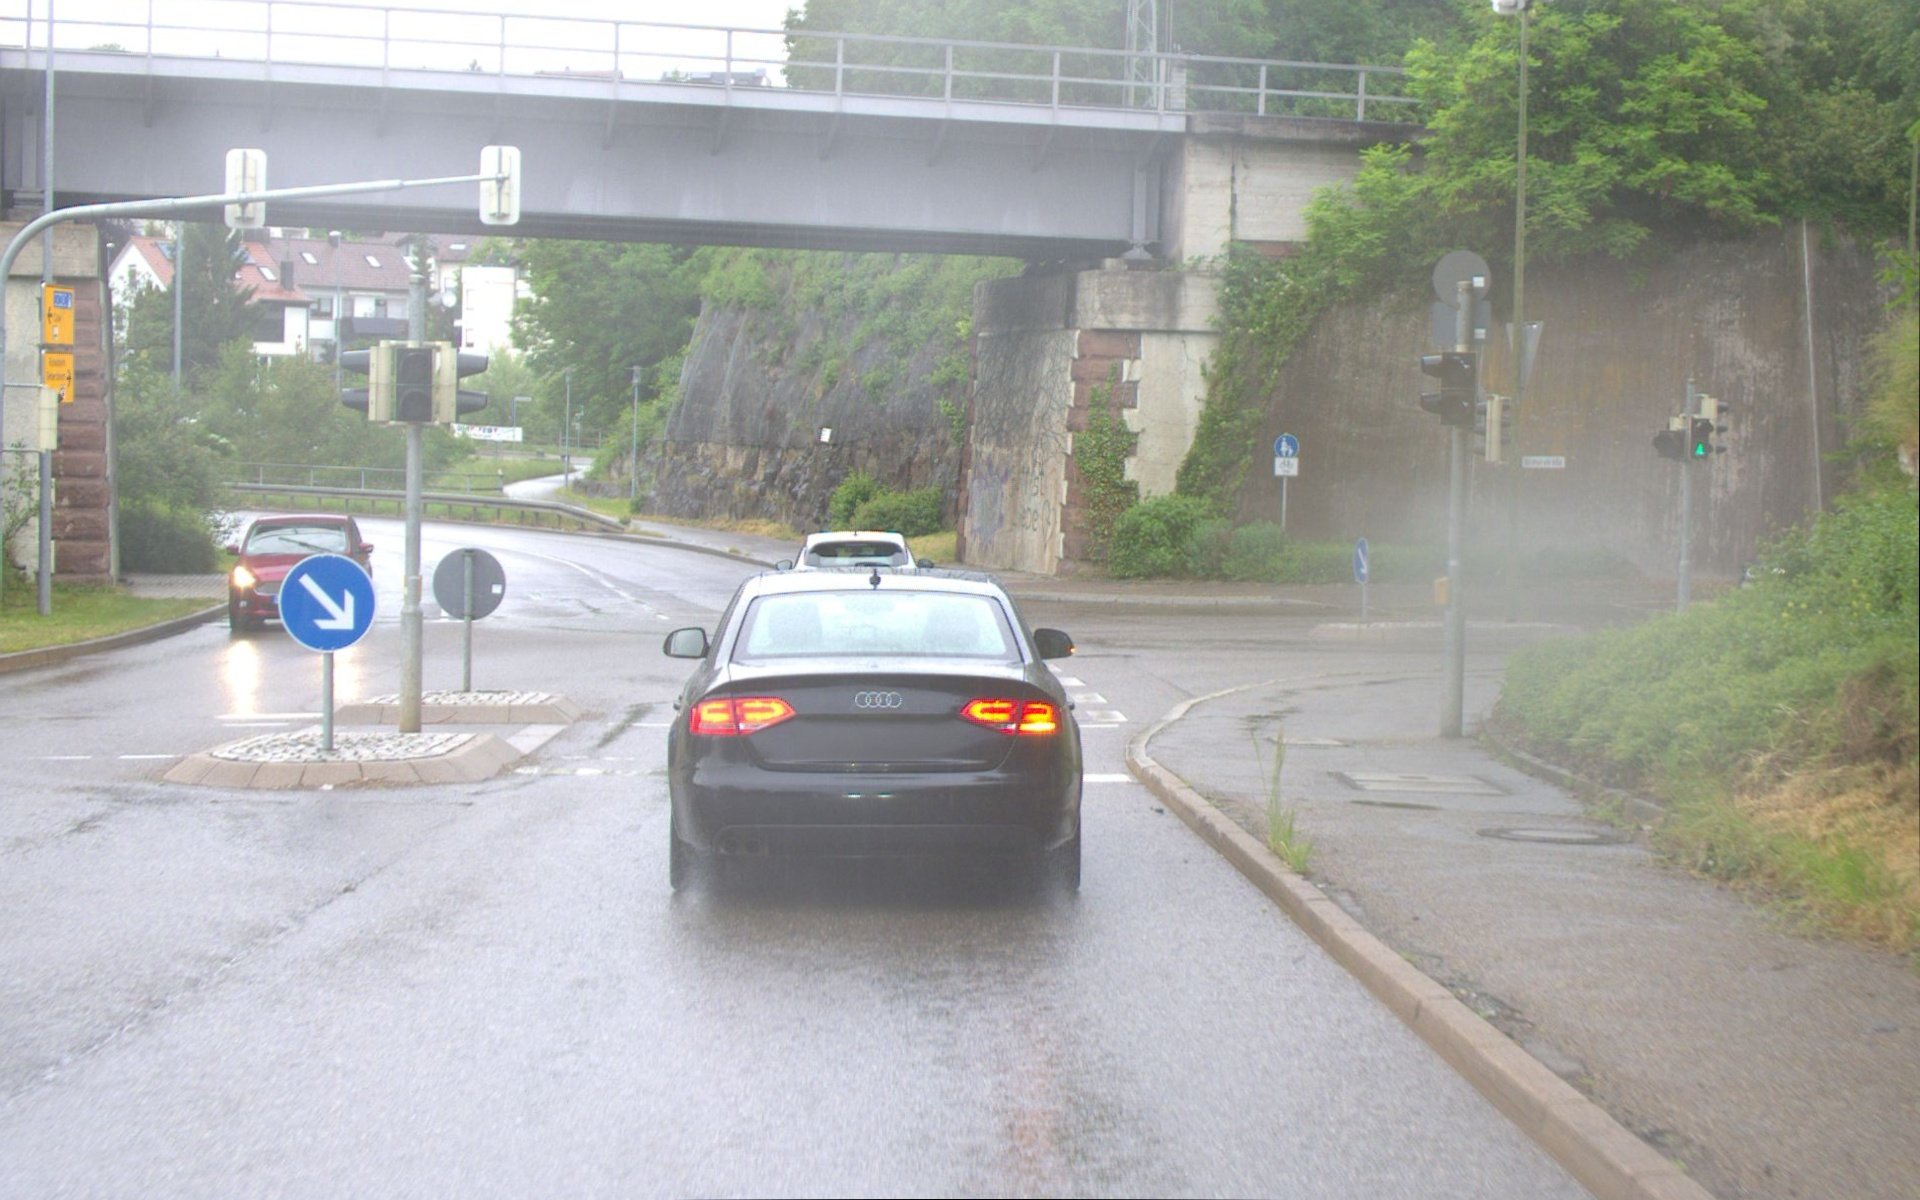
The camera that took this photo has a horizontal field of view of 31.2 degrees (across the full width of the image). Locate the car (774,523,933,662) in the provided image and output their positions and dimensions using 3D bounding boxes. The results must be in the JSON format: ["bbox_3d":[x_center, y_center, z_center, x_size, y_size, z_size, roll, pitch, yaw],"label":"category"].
[{"bbox_3d":[-1.252,-0.078,41.623,1.823,1.579,4.000,0,0,-1],"label":"car"}]

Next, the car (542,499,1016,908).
[{"bbox_3d":[-0.745,0.420,15.671,1.870,1.611,4.000,0,0,-1],"label":"car"}]

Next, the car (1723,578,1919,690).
[{"bbox_3d":[13.548,0.510,51.846,3.699,1.656,1.491,0,0,-7],"label":"car"}]

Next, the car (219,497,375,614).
[{"bbox_3d":[-9.642,-0.656,50.261,1.993,1.623,4.001,0,1,-7],"label":"car"}]
